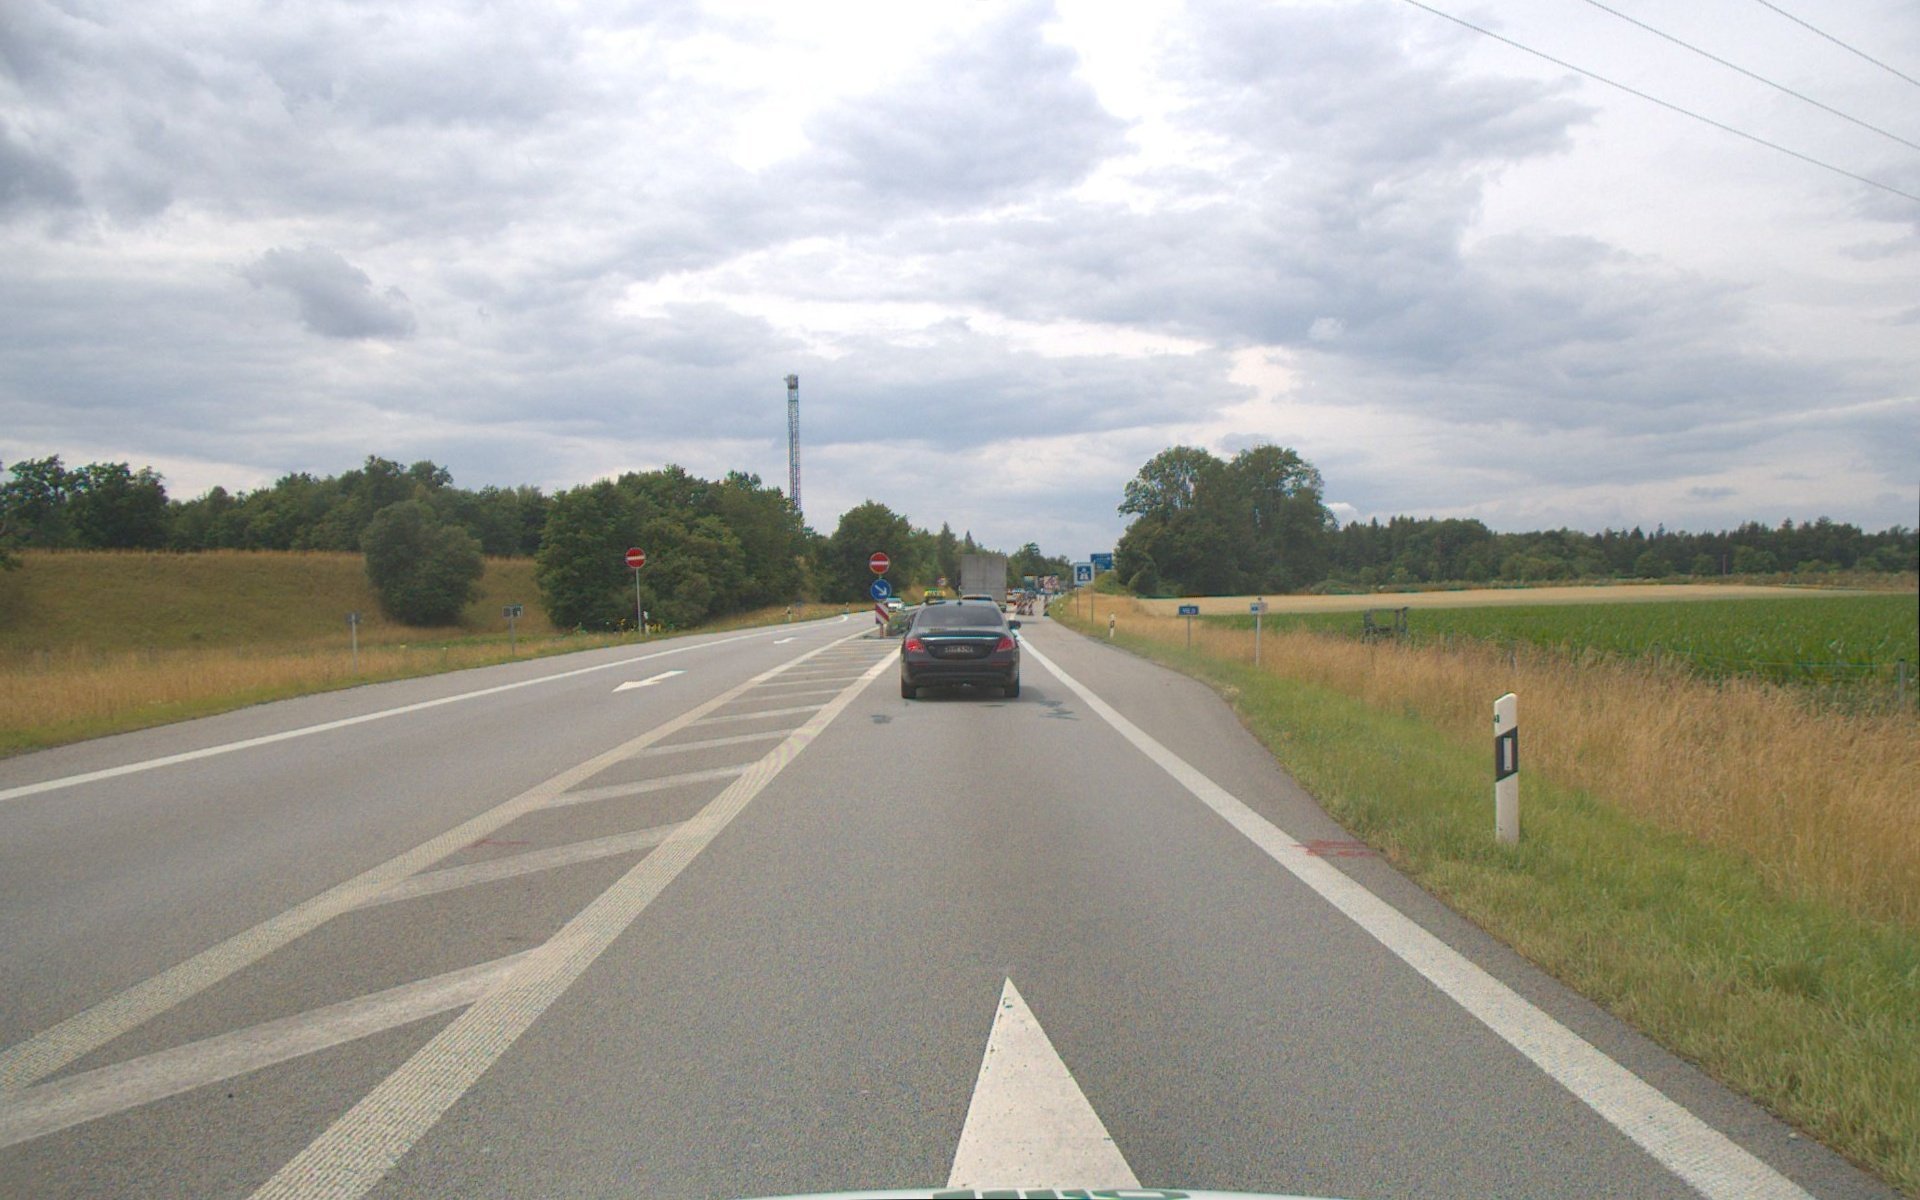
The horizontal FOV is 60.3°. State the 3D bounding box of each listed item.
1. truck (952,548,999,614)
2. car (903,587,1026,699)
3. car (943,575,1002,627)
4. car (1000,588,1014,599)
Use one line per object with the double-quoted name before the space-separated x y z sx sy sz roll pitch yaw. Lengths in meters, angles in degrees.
"truck" 0.891 -1.052 93.371 2.533 3.586 4.813 0 0 1
"car" 0.099 0.626 25.787 1.759 1.587 4.000 1 0 1
"car" 0.476 0.037 67.765 1.955 2.049 3.995 1 0 -6
"car" 5.894 -0.788 207.373 1.616 1.420 3.705 1 0 -1
